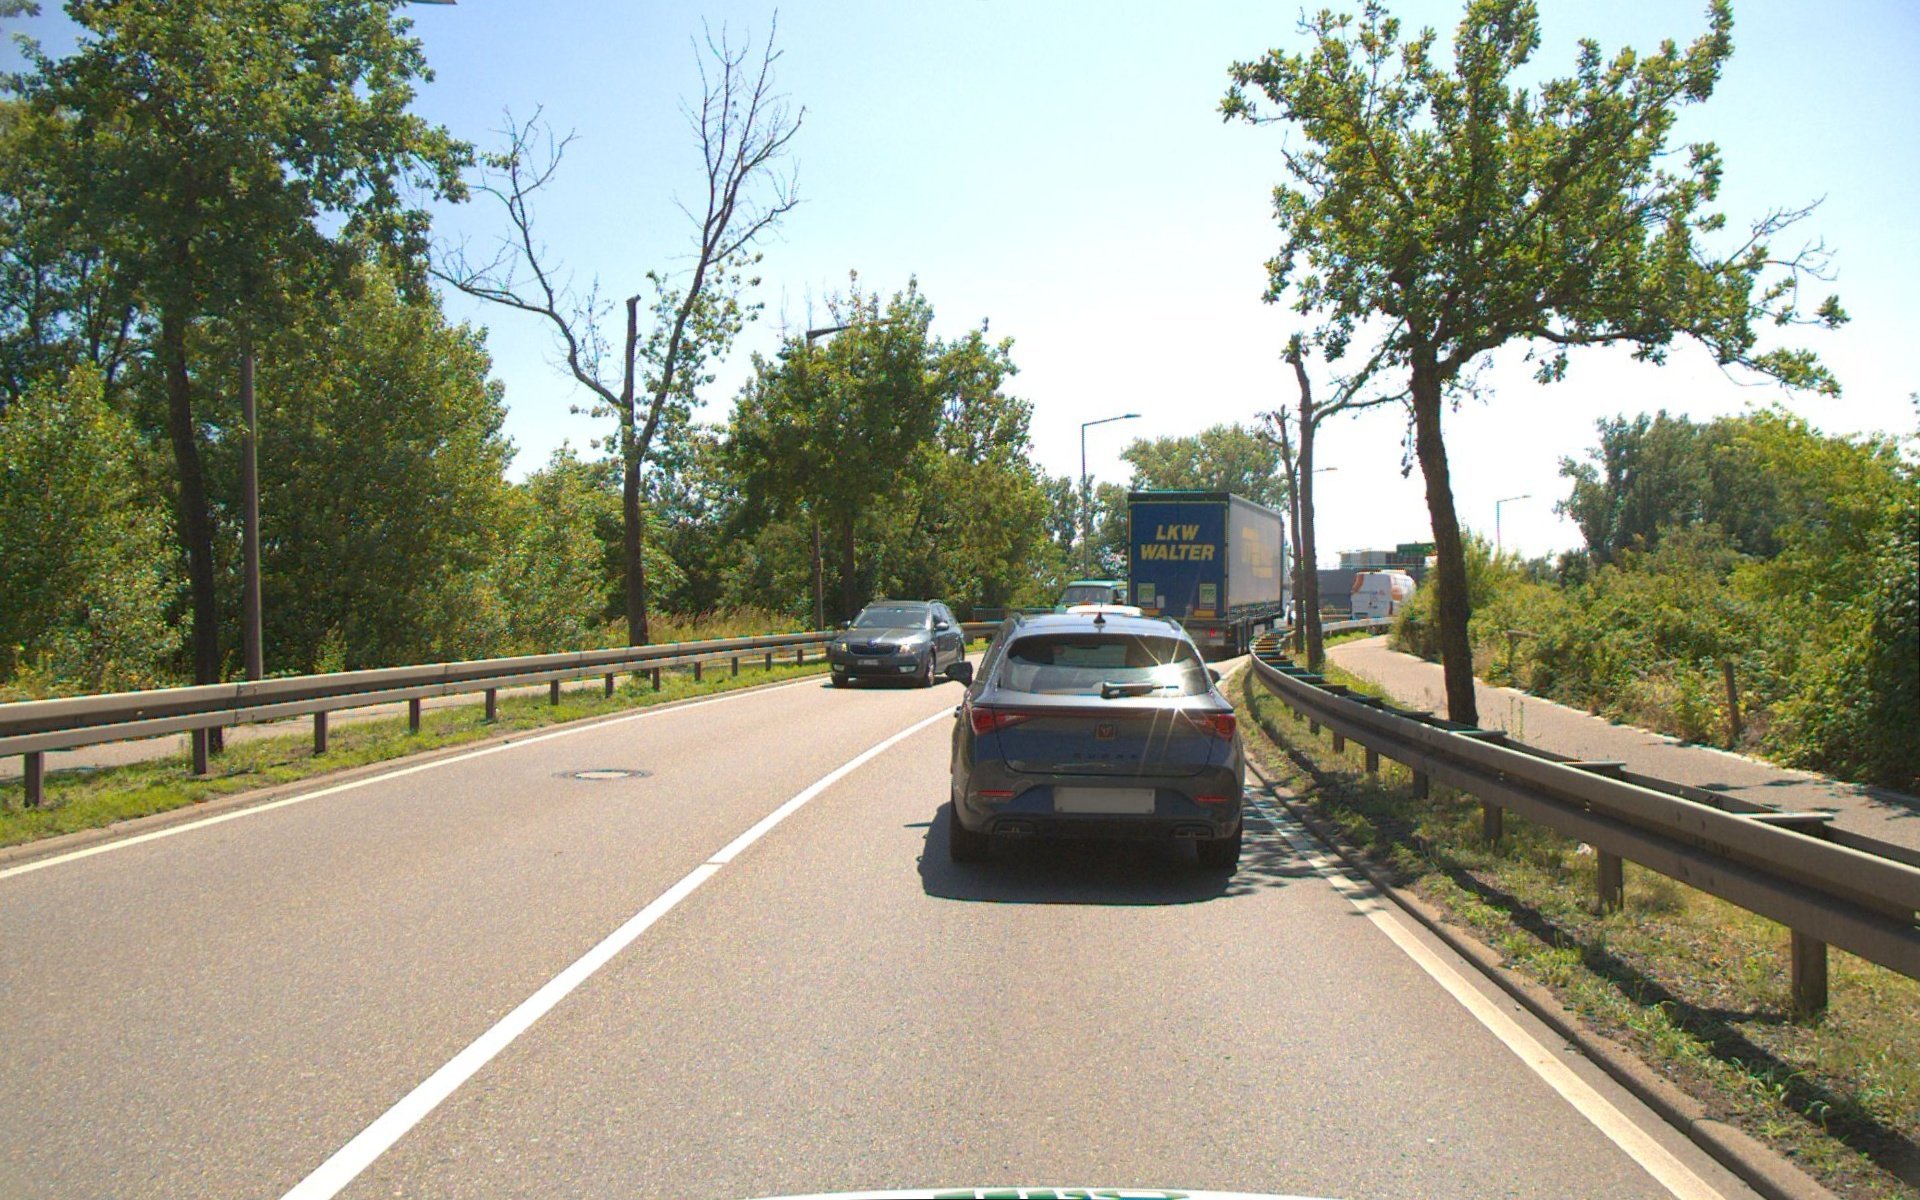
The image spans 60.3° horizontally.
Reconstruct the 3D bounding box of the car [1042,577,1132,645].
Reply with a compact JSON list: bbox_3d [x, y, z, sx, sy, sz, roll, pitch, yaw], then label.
[{"bbox_3d":[3.931,0.323,50.405,1.791,1.972,4.779,0,0,16],"label":"car"}]

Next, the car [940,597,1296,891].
[{"bbox_3d":[0.809,0.751,10.553,1.808,1.525,3.757,0,0,-2],"label":"car"}]

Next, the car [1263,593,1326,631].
[{"bbox_3d":[15.052,0.534,74.289,1.763,1.646,3.996,0,0,27],"label":"car"}]

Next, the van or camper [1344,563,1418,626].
[{"bbox_3d":[19.242,-0.235,75.413,2.160,2.758,5.920,0,0,26],"label":"van or camper"}]

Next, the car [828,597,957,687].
[{"bbox_3d":[-1.118,0.682,29.595,1.707,1.472,4.520,0,0,5],"label":"car"}]

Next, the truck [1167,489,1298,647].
[{"bbox_3d":[8.830,-0.943,52.771,3.103,4.665,7.400,1,0,17],"label":"truck"}]

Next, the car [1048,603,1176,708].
[{"bbox_3d":[2.429,0.805,25.821,1.559,1.486,3.548,1,0,12],"label":"car"}]

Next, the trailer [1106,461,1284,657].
[{"bbox_3d":[6.902,-1.004,46.310,3.068,4.694,12.956,1,0,16],"label":"trailer"}]
